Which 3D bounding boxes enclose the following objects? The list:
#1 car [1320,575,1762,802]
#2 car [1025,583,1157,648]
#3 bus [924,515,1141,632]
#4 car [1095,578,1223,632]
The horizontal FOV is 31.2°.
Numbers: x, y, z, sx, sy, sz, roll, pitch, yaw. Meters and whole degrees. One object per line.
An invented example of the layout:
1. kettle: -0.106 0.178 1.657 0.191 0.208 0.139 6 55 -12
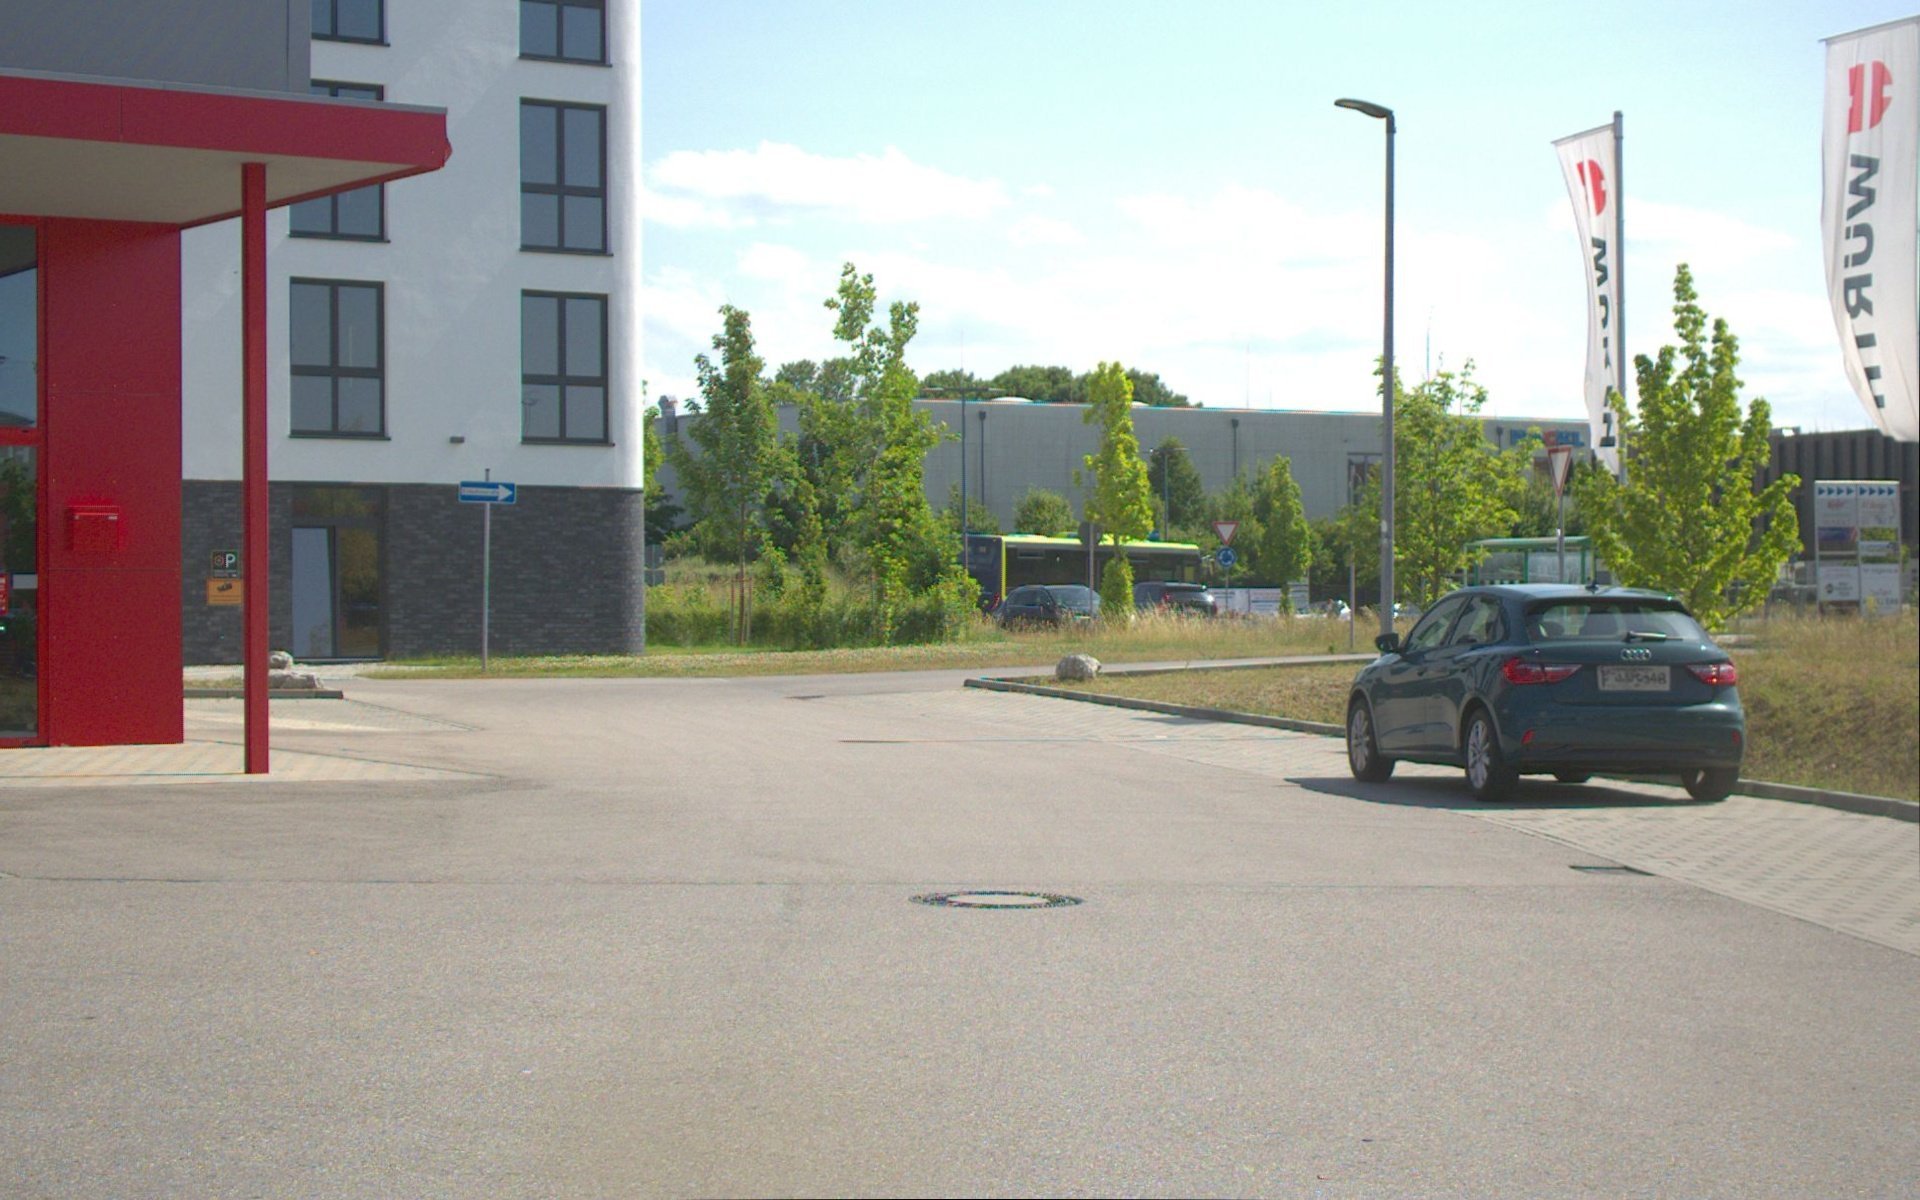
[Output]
1. car: 3.865 0.546 23.544 1.698 1.401 3.898 0 1 -11
2. car: 3.105 0.355 82.204 1.714 1.438 3.709 0 1 -24
3. bus: 2.456 -0.908 109.942 2.570 3.545 11.236 1 1 25
4. car: 5.378 0.129 93.170 1.647 1.381 3.512 -1 1 -35
